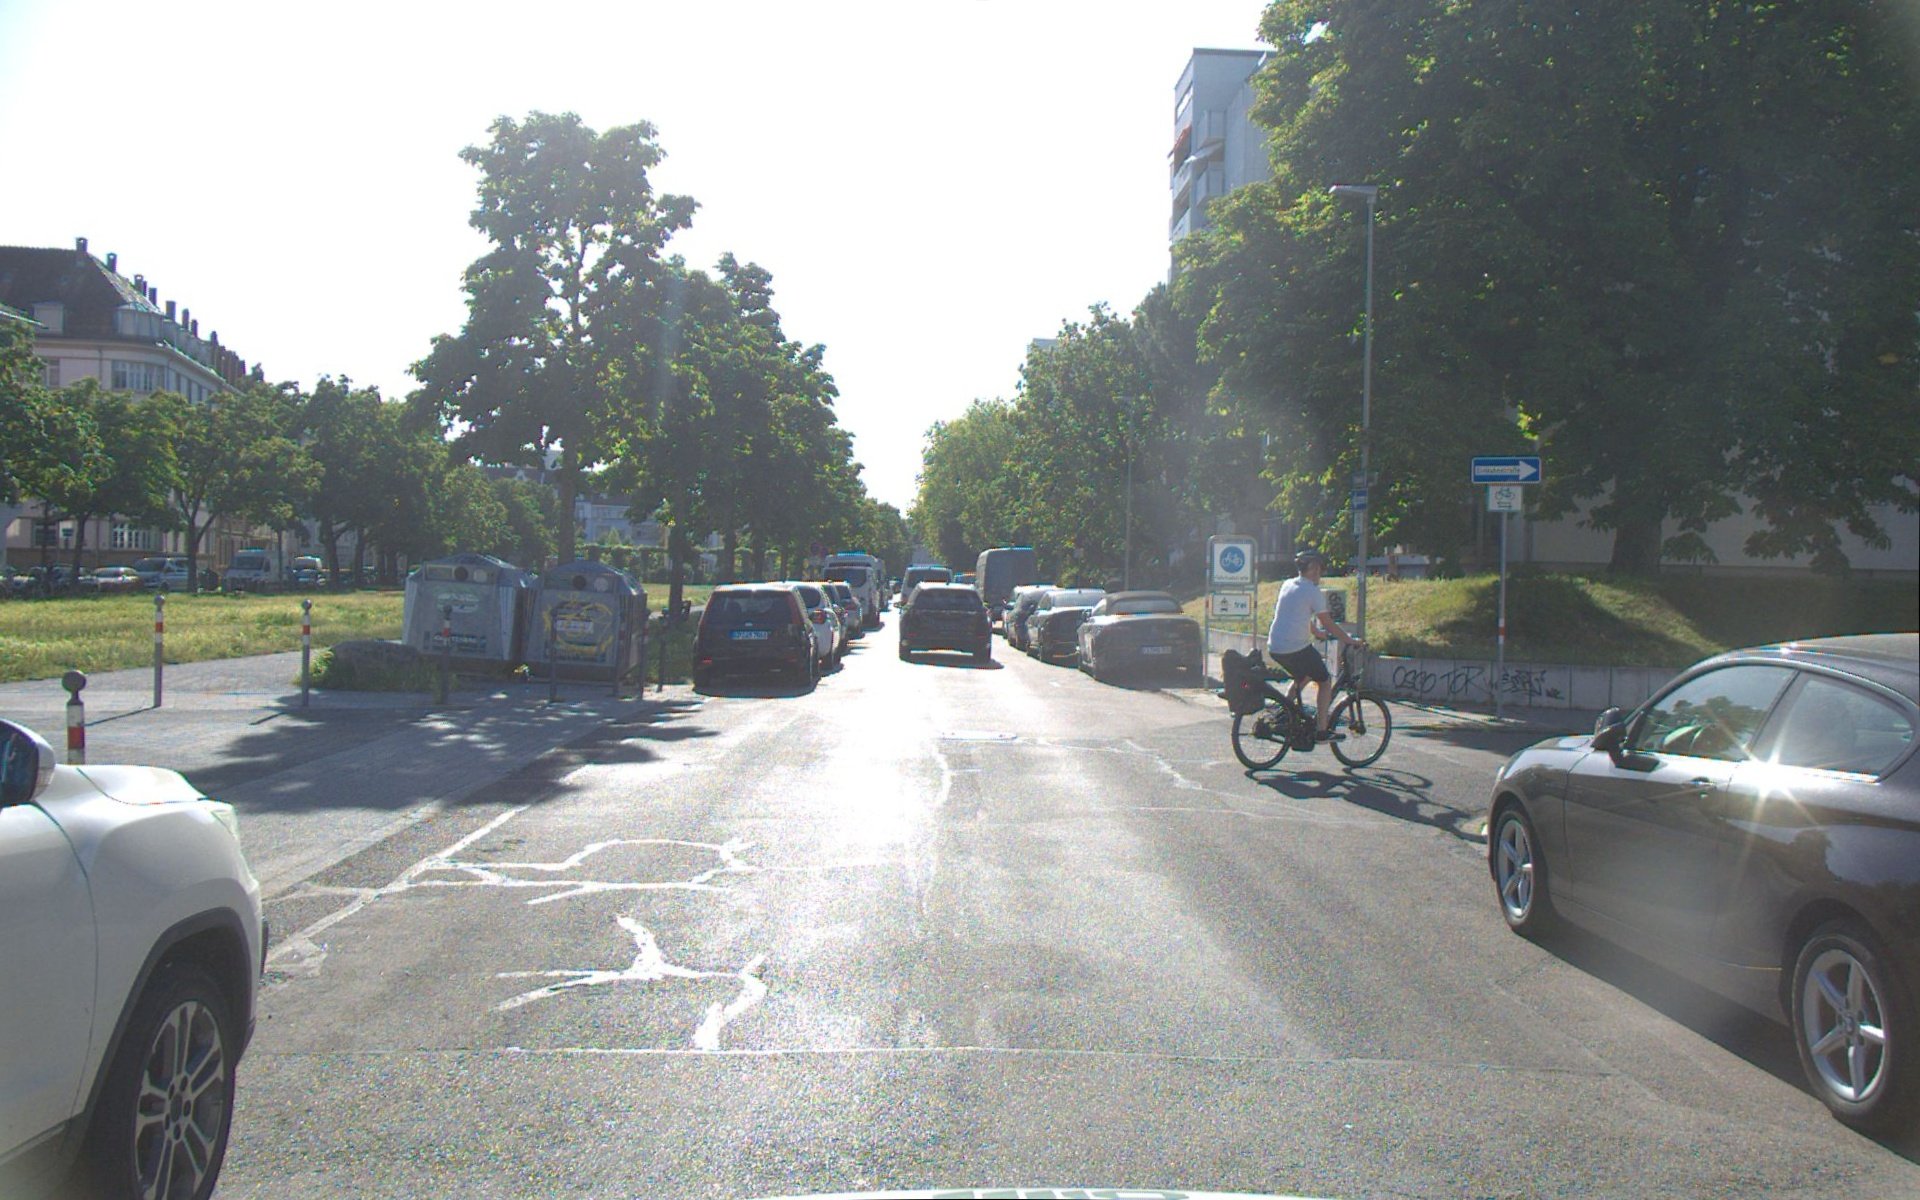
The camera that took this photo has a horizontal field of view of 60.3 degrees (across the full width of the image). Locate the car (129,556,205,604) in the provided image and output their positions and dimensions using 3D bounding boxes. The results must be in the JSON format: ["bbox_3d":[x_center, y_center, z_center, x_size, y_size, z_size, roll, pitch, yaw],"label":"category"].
[{"bbox_3d":[-39.264,-0.979,82.016,1.660,2.252,5.004,1,0,-4],"label":"car"}]

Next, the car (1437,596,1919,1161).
[{"bbox_3d":[3.541,0.770,6.425,1.919,1.507,4.497,-1,1,-2],"label":"car"}]

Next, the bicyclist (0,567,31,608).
[{"bbox_3d":[-34.957,-0.474,61.099,0.723,1.462,0.942,3,1,-2],"label":"bicyclist"}]

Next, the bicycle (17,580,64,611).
[{"bbox_3d":[-33.925,-0.163,61.057,0.717,1.097,1.955,1,1,-3],"label":"bicycle"}]

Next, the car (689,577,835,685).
[{"bbox_3d":[-2.869,0.428,24.663,1.712,1.449,3.916,-1,0,-1],"label":"car"}]

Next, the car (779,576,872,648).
[{"bbox_3d":[-2.954,0.234,37.111,1.743,1.487,4.126,1,1,-1],"label":"car"}]

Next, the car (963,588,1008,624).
[{"bbox_3d":[1.120,0.268,74.671,1.948,1.513,4.126,1,1,-1],"label":"car"}]

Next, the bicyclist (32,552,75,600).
[{"bbox_3d":[-35.709,-0.929,65.203,0.922,1.869,1.449,0,0,-3],"label":"bicyclist"}]

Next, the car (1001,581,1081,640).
[{"bbox_3d":[2.197,0.266,45.939,1.948,1.513,4.126,1,1,-1],"label":"car"}]

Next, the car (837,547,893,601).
[{"bbox_3d":[-4.966,-1.376,87.184,2.563,2.691,6.114,1,1,0],"label":"car"}]

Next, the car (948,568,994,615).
[{"bbox_3d":[0.528,-0.449,85.545,2.119,2.332,5.264,1,1,-2],"label":"car"}]

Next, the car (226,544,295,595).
[{"bbox_3d":[-39.897,-1.714,94.447,1.878,2.791,5.621,1,1,-4],"label":"car"}]

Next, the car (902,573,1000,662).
[{"bbox_3d":[-0.180,0.299,32.504,1.743,1.557,4.000,2,1,0],"label":"car"}]

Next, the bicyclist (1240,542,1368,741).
[{"bbox_3d":[2.906,0.338,13.984,0.779,1.624,0.691,1,0,-25],"label":"bicyclist"}]

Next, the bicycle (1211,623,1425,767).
[{"bbox_3d":[3.051,0.788,14.068,1.738,1.147,0.657,1,0,-26],"label":"bicycle"}]

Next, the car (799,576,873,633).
[{"bbox_3d":[-3.464,0.097,46.896,1.796,1.526,4.126,1,1,0],"label":"car"}]

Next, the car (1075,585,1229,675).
[{"bbox_3d":[3.212,0.456,28.578,2.082,1.361,4.505,-1,1,-1],"label":"car"}]

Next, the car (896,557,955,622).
[{"bbox_3d":[-1.108,-0.363,54.357,1.856,2.026,4.010,0,1,0],"label":"car"}]

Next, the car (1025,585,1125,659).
[{"bbox_3d":[2.329,0.421,34.508,1.743,1.395,4.126,1,1,-1],"label":"car"}]

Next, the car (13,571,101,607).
[{"bbox_3d":[-39.123,-0.500,71.739,1.809,1.465,3.773,1,1,-2],"label":"car"}]

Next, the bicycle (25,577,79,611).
[{"bbox_3d":[-35.748,-0.254,65.152,0.794,1.274,2.633,1,1,-3],"label":"bicycle"}]

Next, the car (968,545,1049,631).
[{"bbox_3d":[1.586,-0.432,56.030,2.120,2.736,5.411,1,1,-5],"label":"car"}]

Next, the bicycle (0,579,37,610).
[{"bbox_3d":[-34.930,-0.200,61.043,0.717,1.097,1.955,1,1,-3],"label":"bicycle"}]

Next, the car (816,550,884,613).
[{"bbox_3d":[-3.630,-0.619,55.354,2.056,1.976,4.126,1,1,-1],"label":"car"}]

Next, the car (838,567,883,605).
[{"bbox_3d":[-4.885,-0.702,81.528,1.969,1.816,4.126,1,1,0],"label":"car"}]

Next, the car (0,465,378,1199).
[{"bbox_3d":[-2.532,0.612,2.614,1.720,1.676,4.287,0,1,-1],"label":"car"}]

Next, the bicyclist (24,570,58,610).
[{"bbox_3d":[-33.931,-0.374,61.066,0.723,1.463,0.942,0,0,-2],"label":"bicyclist"}]

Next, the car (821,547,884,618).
[{"bbox_3d":[-3.963,-0.662,61.756,2.056,2.540,4.126,1,1,0],"label":"car"}]

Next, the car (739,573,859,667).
[{"bbox_3d":[-2.776,0.326,29.186,1.741,1.521,3.874,-1,0,-1],"label":"car"}]

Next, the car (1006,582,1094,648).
[{"bbox_3d":[2.170,0.337,40.879,1.744,1.513,4.029,1,1,-3],"label":"car"}]
